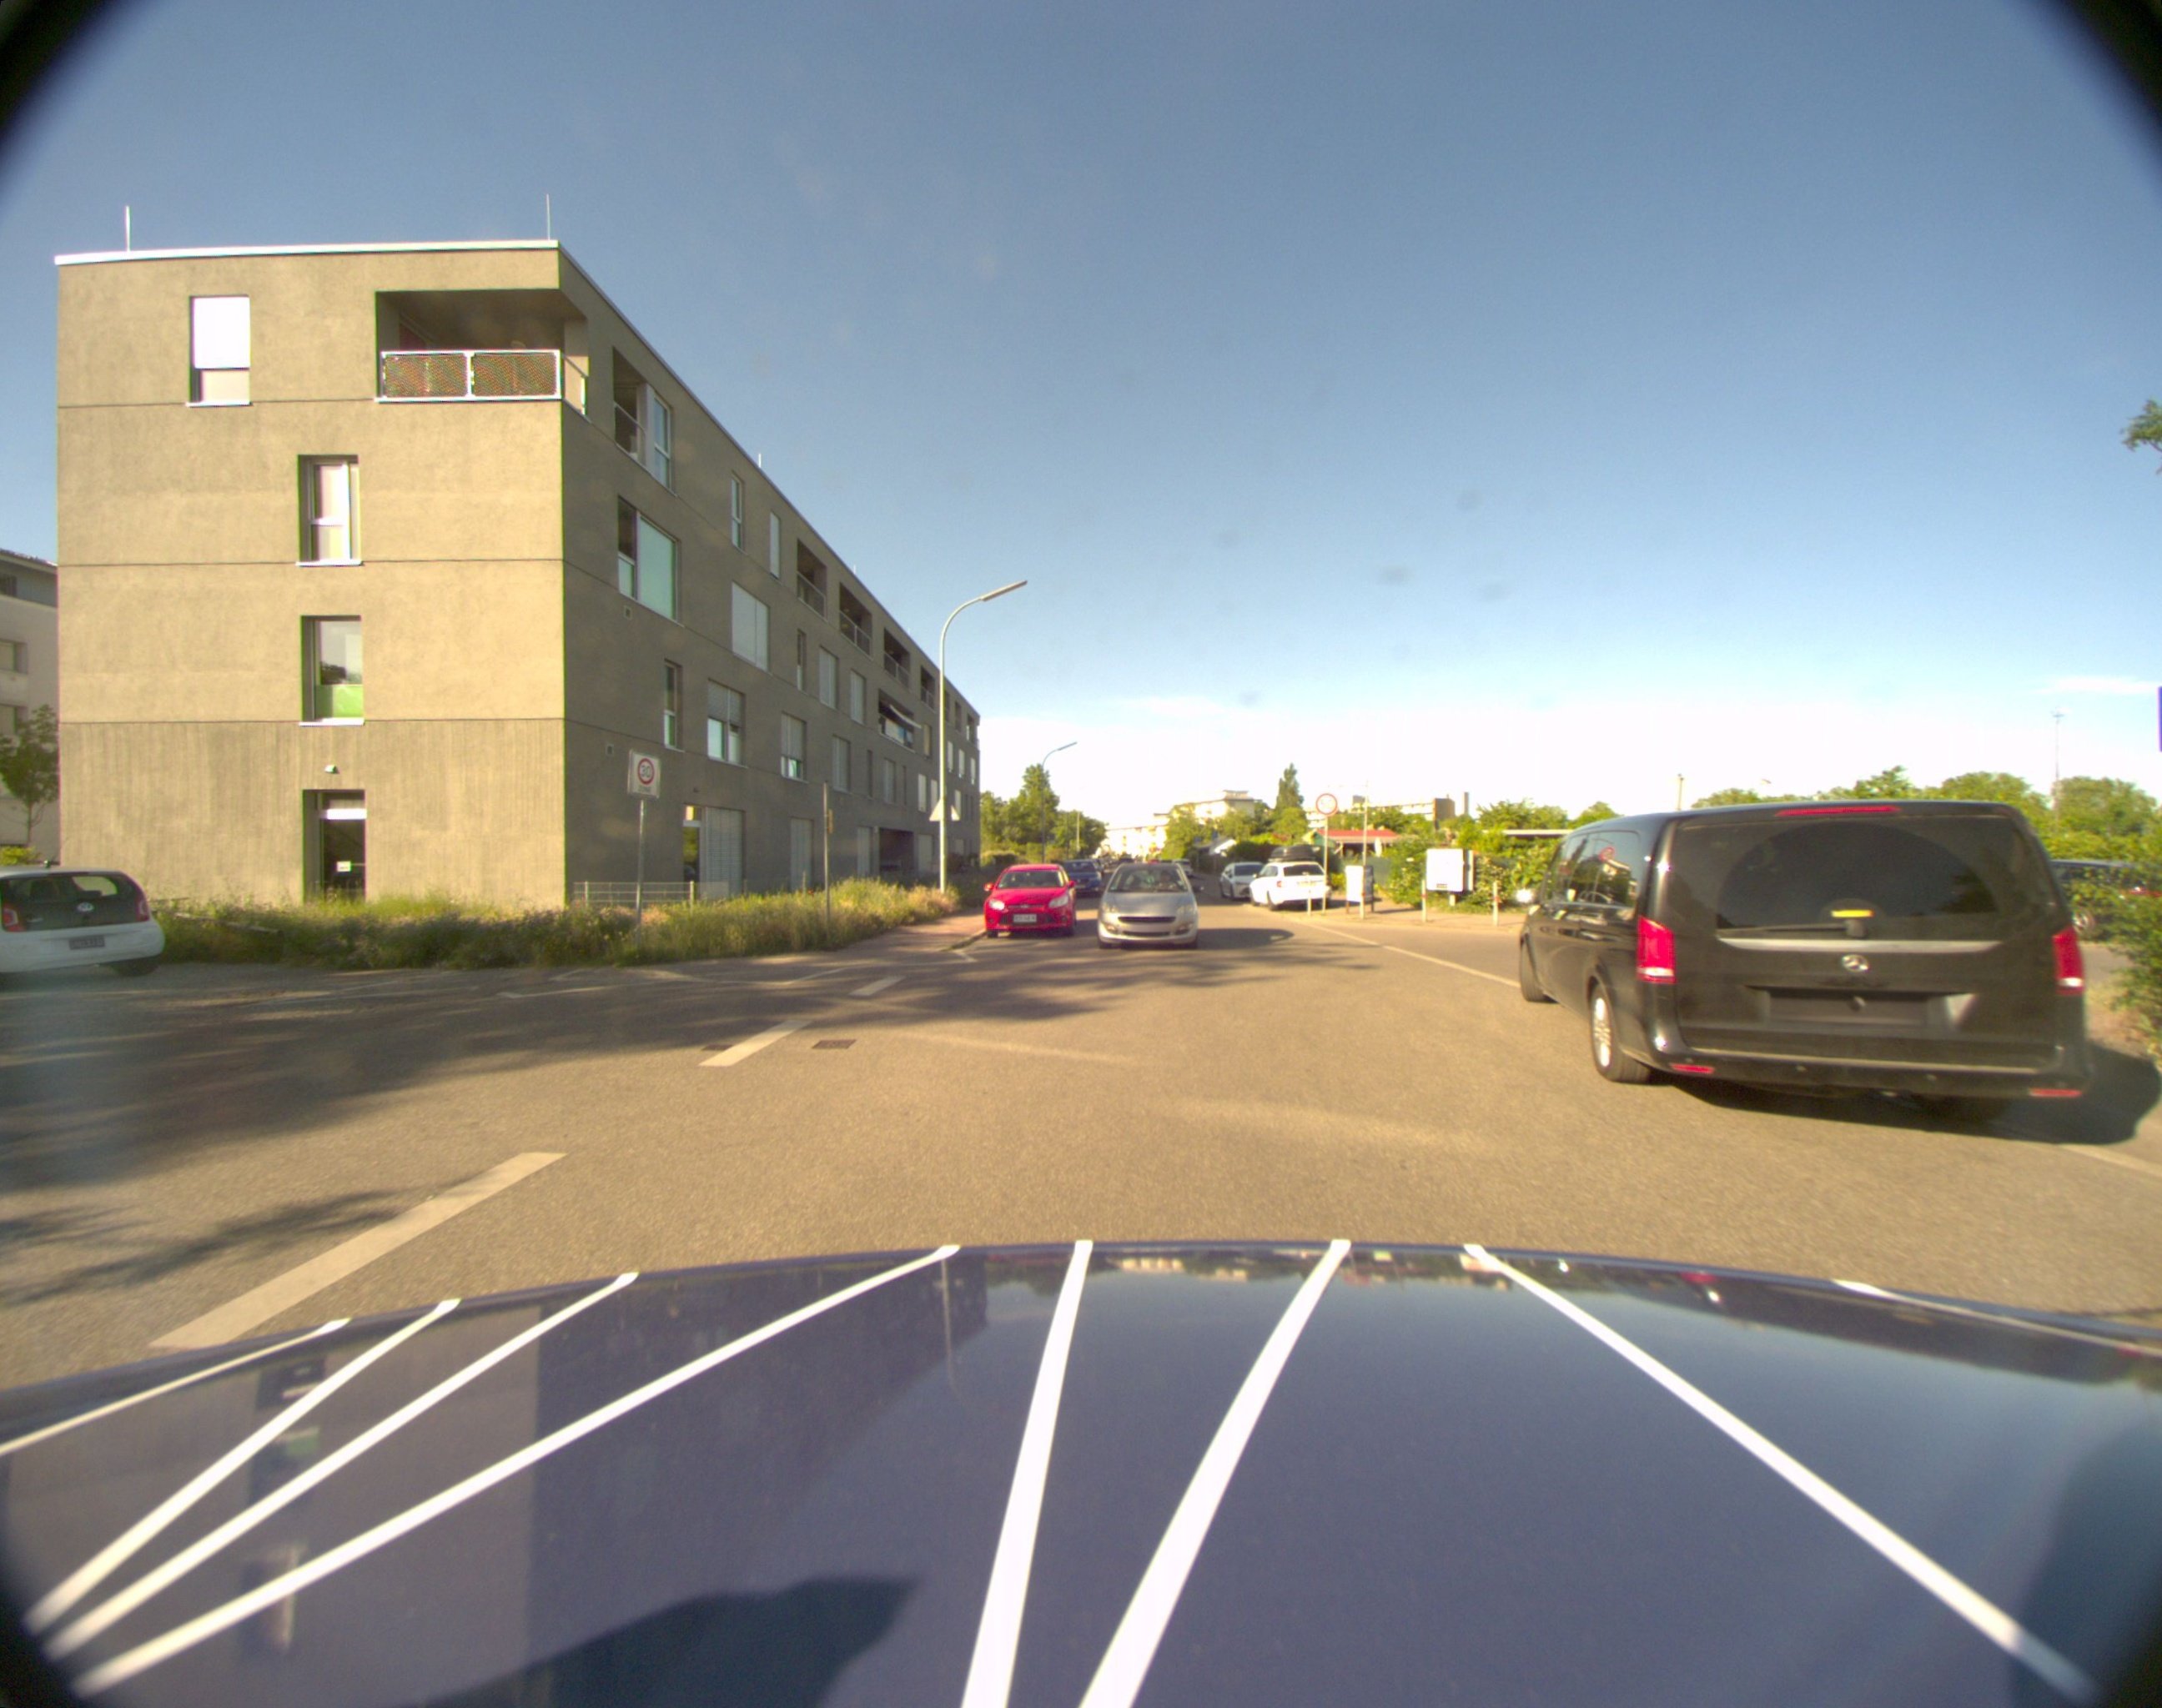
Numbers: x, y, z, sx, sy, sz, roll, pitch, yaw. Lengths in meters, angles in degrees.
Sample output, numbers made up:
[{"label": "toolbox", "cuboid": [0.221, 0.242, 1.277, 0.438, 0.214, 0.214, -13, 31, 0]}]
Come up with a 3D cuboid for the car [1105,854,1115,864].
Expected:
[{"label": "car", "cuboid": [5.849, 1.024, 154.337, 1.998, 2.002, 4.001, 0, 0, 2]}]

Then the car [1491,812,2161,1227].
[{"label": "car", "cuboid": [4.921, 0.738, 6.125, 1.957, 1.856, 5.262, 1, 0, 19]}]

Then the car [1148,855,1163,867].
[{"label": "car", "cuboid": [9.336, 0.832, 95.334, 1.700, 1.421, 4.386, 0, 0, 2]}]

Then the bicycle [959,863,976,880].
[{"label": "bicycle", "cuboid": [-7.098, 1.085, 47.532, 0.553, 1.055, 1.843, -1, 0, 6]}]

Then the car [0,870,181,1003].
[{"label": "car", "cuboid": [-13.681, 0.947, 9.403, 3.333, 1.450, 1.715, 0, 0, 7]}]

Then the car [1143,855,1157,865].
[{"label": "car", "cuboid": [9.576, 0.856, 105.333, 1.700, 1.361, 3.911, 0, 0, 2]}]

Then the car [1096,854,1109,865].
[{"label": "car", "cuboid": [3.205, 0.839, 114.196, 1.873, 1.517, 4.156, -1, 0, 3]}]

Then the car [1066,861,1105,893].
[{"label": "car", "cuboid": [0.282, 1.144, 39.245, 1.749, 1.421, 4.586, -2, 0, 3]}]

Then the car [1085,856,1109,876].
[{"label": "car", "cuboid": [1.377, 0.966, 63.460, 1.748, 1.557, 4.804, -2, 0, 4]}]

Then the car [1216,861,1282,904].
[{"label": "car", "cuboid": [6.569, 1.062, 30.132, 1.751, 1.437, 4.542, -3, 0, 3]}]

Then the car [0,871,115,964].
[{"label": "car", "cuboid": [-18.300, 1.036, 11.691, 1.697, 1.461, 4.001, 0, 0, 3]}]

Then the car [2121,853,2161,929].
[{"label": "car", "cuboid": [24.539, 0.806, 15.558, 1.508, 1.685, 3.848, 0, 0, 8]}]

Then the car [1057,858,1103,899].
[{"label": "car", "cuboid": [0.022, 1.030, 33.437, 1.821, 1.590, 4.628, -3, 0, 1]}]

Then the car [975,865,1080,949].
[{"label": "car", "cuboid": [-1.012, 1.036, 16.482, 1.823, 1.491, 4.452, -1, 0, 2]}]

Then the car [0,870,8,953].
[{"label": "car", "cuboid": [-20.703, 1.041, 12.032, 1.697, 1.511, 4.001, 0, 0, 3]}]

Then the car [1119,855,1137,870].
[{"label": "car", "cuboid": [5.320, 0.950, 86.109, 1.947, 1.717, 4.840, 0, 0, 4]}]

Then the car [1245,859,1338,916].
[{"label": "car", "cuboid": [6.403, 0.963, 23.593, 1.700, 1.504, 4.518, -3, -1, 2]}]

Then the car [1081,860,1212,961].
[{"label": "car", "cuboid": [1.298, 0.887, 13.381, 1.677, 1.439, 4.005, -4, -2, 13]}]

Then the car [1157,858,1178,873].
[{"label": "car", "cuboid": [8.727, 1.123, 76.902, 1.700, 1.415, 4.517, -2, 0, 2]}]

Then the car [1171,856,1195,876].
[{"label": "car", "cuboid": [7.962, 0.947, 59.464, 1.531, 1.479, 3.402, -1, 0, 2]}]
